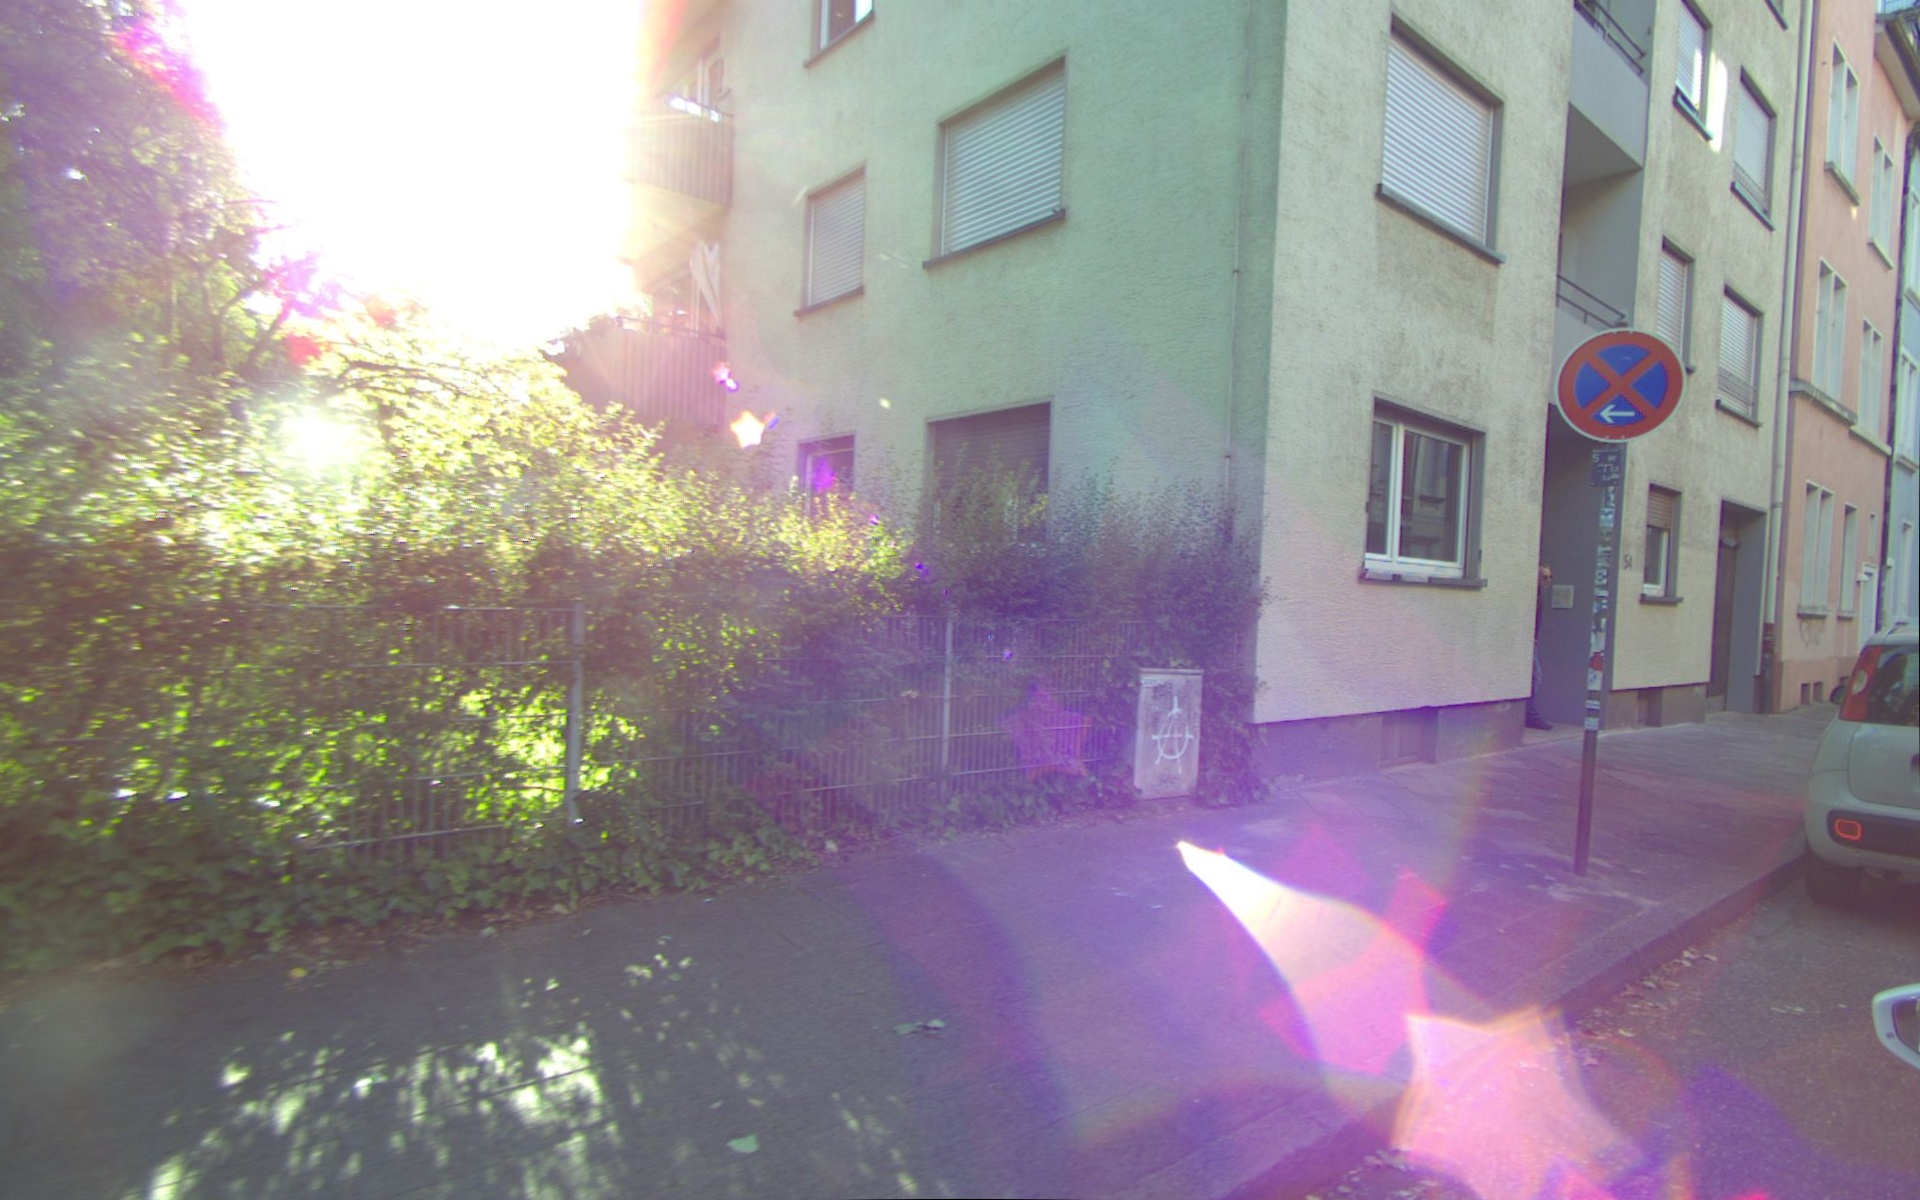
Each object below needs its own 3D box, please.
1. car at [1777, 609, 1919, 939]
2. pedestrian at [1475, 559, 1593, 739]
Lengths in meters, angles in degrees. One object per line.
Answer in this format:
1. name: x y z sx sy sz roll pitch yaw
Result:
1. car: 6.215 0.893 5.845 3.840 1.560 1.660 2 0 -42
2. pedestrian: 6.257 0.509 10.964 0.667 1.864 0.900 2 0 -38
